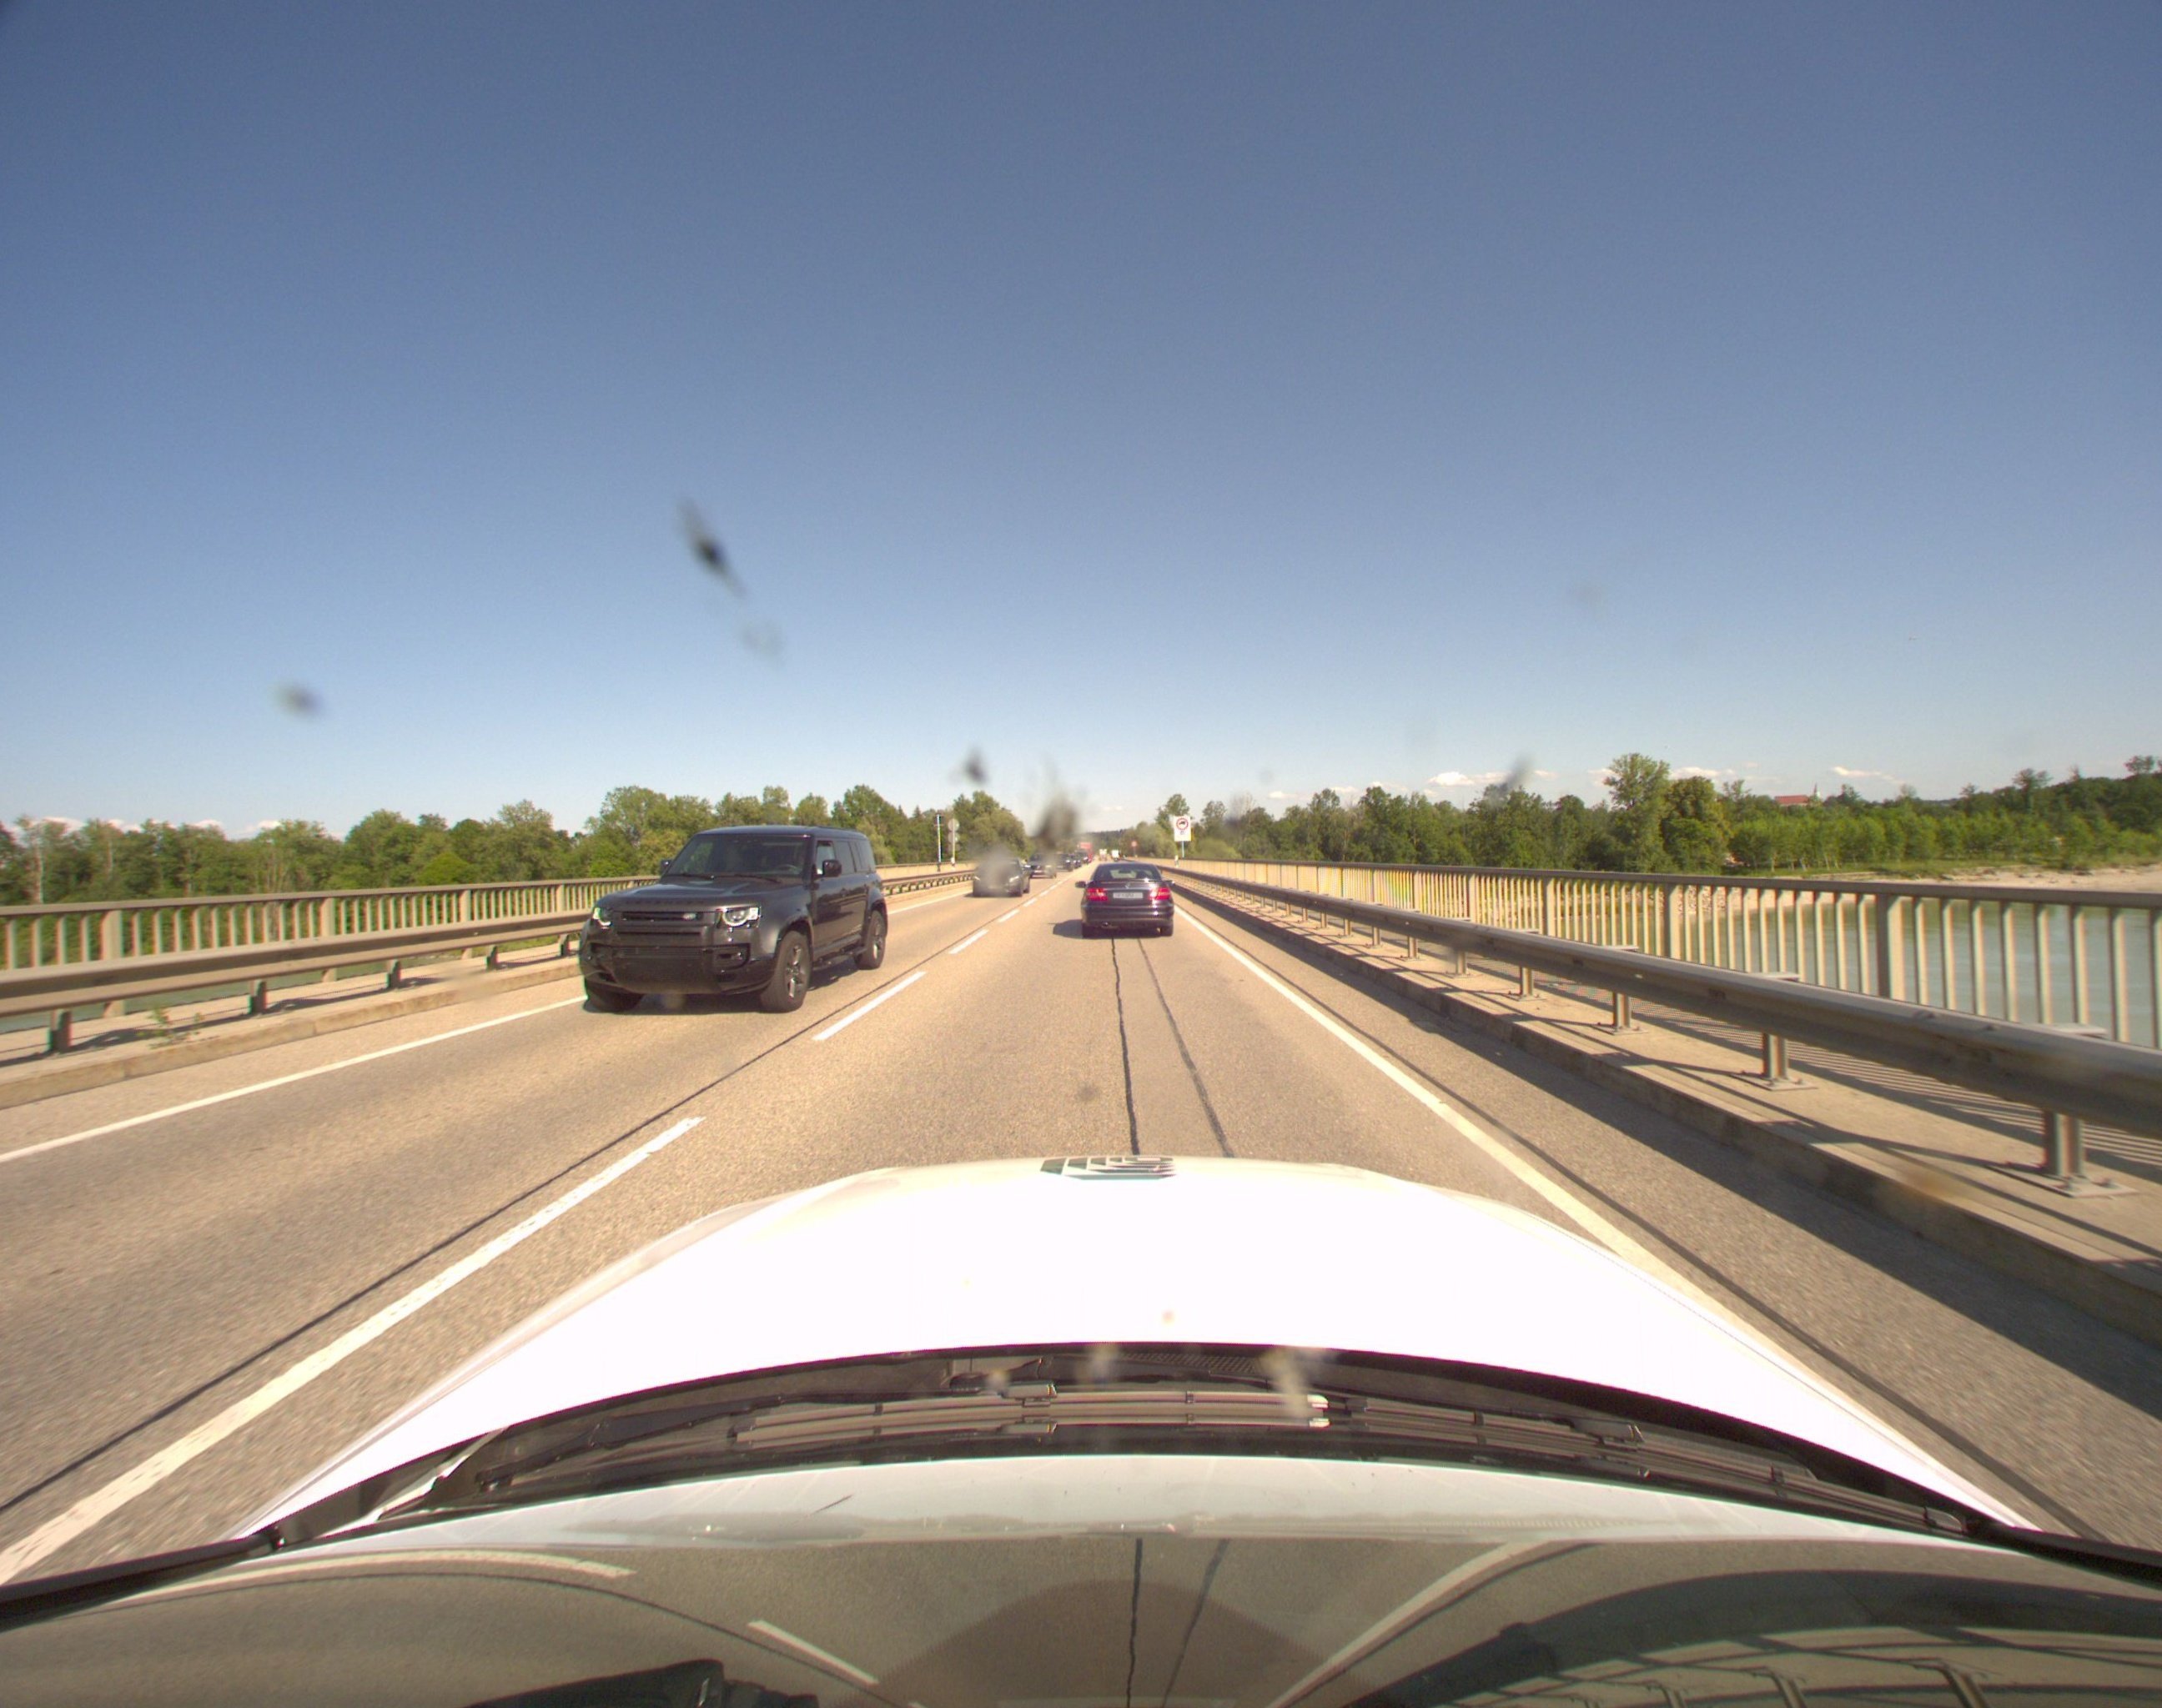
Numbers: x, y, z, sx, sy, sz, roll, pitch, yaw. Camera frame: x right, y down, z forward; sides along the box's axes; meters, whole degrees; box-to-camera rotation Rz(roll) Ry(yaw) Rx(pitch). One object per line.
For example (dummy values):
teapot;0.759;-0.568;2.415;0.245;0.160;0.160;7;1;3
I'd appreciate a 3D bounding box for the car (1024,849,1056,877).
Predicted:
car;-2.639;0.566;53.914;1.848;1.722;4.565;1;0;0

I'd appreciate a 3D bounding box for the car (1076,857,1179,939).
car;0.869;0.774;16.148;1.786;1.376;4.002;-1;0;2

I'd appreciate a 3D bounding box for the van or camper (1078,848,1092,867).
van or camper;0.665;0.541;134.403;2.308;3.051;6.816;0;0;0

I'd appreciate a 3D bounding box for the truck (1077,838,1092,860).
truck;0.612;-0.984;161.614;2.899;4.184;5.711;-1;0;-1

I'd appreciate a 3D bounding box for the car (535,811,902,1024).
car;-3.780;0.556;9.766;2.030;1.873;5.071;-1;0;1

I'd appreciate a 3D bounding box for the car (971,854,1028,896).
car;-3.029;0.748;31.107;1.760;1.447;4.454;-1;0;-1

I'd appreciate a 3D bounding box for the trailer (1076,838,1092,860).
trailer;0.510;-1.043;169.773;2.900;4.302;14.291;-1;0;-2

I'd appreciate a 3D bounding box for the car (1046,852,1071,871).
car;-2.011;0.636;74.524;2.046;1.652;4.722;1;0;1

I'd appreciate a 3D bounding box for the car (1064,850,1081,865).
car;-0.954;0.335;89.310;1.801;1.577;4.198;-1;0;-2

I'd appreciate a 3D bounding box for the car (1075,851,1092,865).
car;0.298;0.482;100.854;1.870;1.583;4.270;-1;0;-2
